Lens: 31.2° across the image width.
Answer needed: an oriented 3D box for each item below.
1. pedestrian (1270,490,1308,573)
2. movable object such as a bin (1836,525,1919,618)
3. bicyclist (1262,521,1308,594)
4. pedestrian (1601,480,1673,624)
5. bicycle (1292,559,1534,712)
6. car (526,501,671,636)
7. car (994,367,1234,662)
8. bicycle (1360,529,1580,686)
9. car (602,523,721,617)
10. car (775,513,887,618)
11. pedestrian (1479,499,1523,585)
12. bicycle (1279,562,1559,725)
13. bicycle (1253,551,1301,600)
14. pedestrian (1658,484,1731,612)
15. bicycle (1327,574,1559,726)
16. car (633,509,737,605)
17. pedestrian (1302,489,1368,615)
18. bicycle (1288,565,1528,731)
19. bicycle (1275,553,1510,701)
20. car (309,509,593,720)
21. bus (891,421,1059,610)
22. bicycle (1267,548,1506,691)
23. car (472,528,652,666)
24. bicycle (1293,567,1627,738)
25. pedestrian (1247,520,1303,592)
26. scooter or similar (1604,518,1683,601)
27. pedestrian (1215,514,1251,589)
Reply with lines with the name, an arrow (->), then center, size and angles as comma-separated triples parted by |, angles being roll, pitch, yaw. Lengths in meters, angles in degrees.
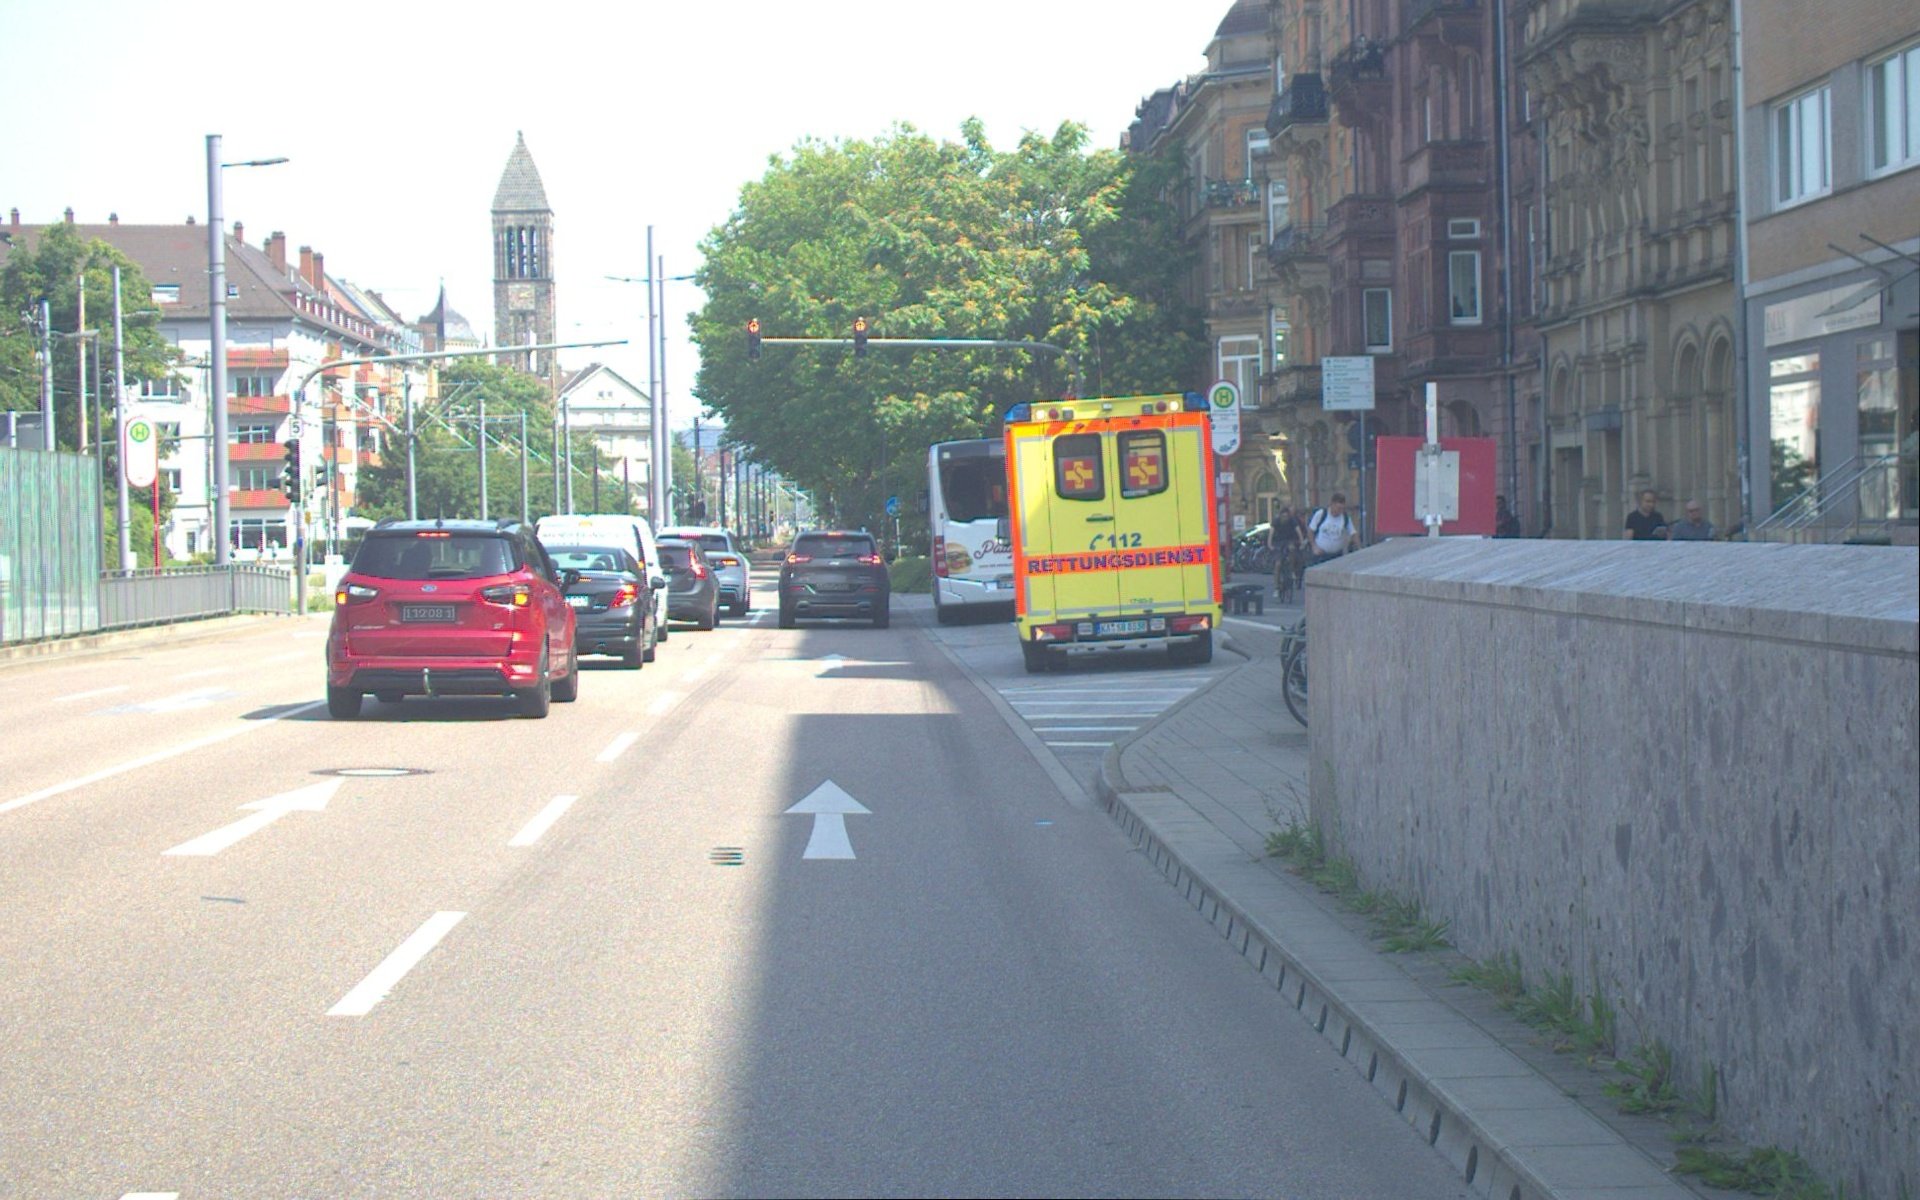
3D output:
pedestrian -> 6.679, -1.393, 69.752 | 0.697, 1.661, 0.603 | -1, 1, 0
movable object such as a bin -> 10.607, -0.326, 39.595 | 0.646, 1.044, 0.764 | -3, 2, -45
bicyclist -> 5.893, -0.774, 62.345 | 0.753, 1.317, 0.582 | -1, 1, -2
pedestrian -> 8.030, -0.574, 40.798 | 0.643, 1.679, 0.789 | -1, 1, -2
bicycle -> 3.273, 0.251, 24.933 | 1.658, 1.068, 0.644 | 0, 3, -1
car -> -5.017, -0.449, 48.083 | 1.790, 1.774, 4.001 | -1, 1, -3
car -> 1.645, -0.946, 37.412 | 2.299, 2.878, 5.599 | -2, 2, 2
bicycle -> 4.029, 0.054, 27.235 | 1.674, 1.211, 0.644 | 0, 1, 4
car -> -4.860, -0.498, 56.437 | 1.790, 1.467, 4.001 | -1, 1, -3
car -> -2.197, -0.577, 57.646 | 1.790, 1.672, 4.001 | -1, 1, -3
pedestrian -> 10.215, -1.097, 64.947 | 0.622, 1.587, 0.696 | -2, 1, -7
bicycle -> 3.082, 0.289, 23.155 | 1.835, 1.068, 0.365 | 0, 2, -1
bicycle -> 5.742, -0.455, 62.370 | 0.589, 0.852, 1.776 | -1, 1, -3
pedestrian -> 8.714, -0.622, 40.792 | 0.643, 1.488, 0.789 | -1, 1, -2
bicycle -> 3.310, 0.340, 23.612 | 1.537, 1.013, 0.365 | 0, 2, -1
car -> -5.092, -0.803, 64.047 | 1.790, 1.692, 4.001 | -1, 1, -3
pedestrian -> 4.986, -0.645, 45.724 | 0.697, 1.661, 0.602 | 0, 1, 24
bicycle -> 2.960, 0.313, 22.777 | 1.537, 1.068, 0.365 | 0, 2, -1
bicycle -> 3.221, 0.196, 25.706 | 1.658, 1.068, 0.644 | -1, 1, -1
car -> -4.213, 0.063, 29.043 | 1.762, 1.612, 4.083 | -1, 2, 0
bus -> 0.122, -1.529, 62.297 | 2.533, 3.021, 12.437 | -1, 1, -2
bicycle -> 3.278, 0.143, 26.523 | 1.776, 1.068, 0.644 | 0, 1, 3
car -> -4.493, -0.077, 39.284 | 1.790, 1.426, 4.001 | -1, 2, -3
bicycle -> 3.249, 0.333, 22.378 | 2.120, 1.068, 0.382 | -1, 2, -6
pedestrian -> 8.107, -1.139, 88.436 | 1.249, 1.745, 1.526 | -1, 3, -1
scooter or similar -> 10.009, -0.596, 50.378 | 0.512, 1.192, 1.305 | -2, 1, -21
pedestrian -> 6.079, -1.085, 76.660 | 0.697, 1.661, 1.064 | -1, 1, 0
